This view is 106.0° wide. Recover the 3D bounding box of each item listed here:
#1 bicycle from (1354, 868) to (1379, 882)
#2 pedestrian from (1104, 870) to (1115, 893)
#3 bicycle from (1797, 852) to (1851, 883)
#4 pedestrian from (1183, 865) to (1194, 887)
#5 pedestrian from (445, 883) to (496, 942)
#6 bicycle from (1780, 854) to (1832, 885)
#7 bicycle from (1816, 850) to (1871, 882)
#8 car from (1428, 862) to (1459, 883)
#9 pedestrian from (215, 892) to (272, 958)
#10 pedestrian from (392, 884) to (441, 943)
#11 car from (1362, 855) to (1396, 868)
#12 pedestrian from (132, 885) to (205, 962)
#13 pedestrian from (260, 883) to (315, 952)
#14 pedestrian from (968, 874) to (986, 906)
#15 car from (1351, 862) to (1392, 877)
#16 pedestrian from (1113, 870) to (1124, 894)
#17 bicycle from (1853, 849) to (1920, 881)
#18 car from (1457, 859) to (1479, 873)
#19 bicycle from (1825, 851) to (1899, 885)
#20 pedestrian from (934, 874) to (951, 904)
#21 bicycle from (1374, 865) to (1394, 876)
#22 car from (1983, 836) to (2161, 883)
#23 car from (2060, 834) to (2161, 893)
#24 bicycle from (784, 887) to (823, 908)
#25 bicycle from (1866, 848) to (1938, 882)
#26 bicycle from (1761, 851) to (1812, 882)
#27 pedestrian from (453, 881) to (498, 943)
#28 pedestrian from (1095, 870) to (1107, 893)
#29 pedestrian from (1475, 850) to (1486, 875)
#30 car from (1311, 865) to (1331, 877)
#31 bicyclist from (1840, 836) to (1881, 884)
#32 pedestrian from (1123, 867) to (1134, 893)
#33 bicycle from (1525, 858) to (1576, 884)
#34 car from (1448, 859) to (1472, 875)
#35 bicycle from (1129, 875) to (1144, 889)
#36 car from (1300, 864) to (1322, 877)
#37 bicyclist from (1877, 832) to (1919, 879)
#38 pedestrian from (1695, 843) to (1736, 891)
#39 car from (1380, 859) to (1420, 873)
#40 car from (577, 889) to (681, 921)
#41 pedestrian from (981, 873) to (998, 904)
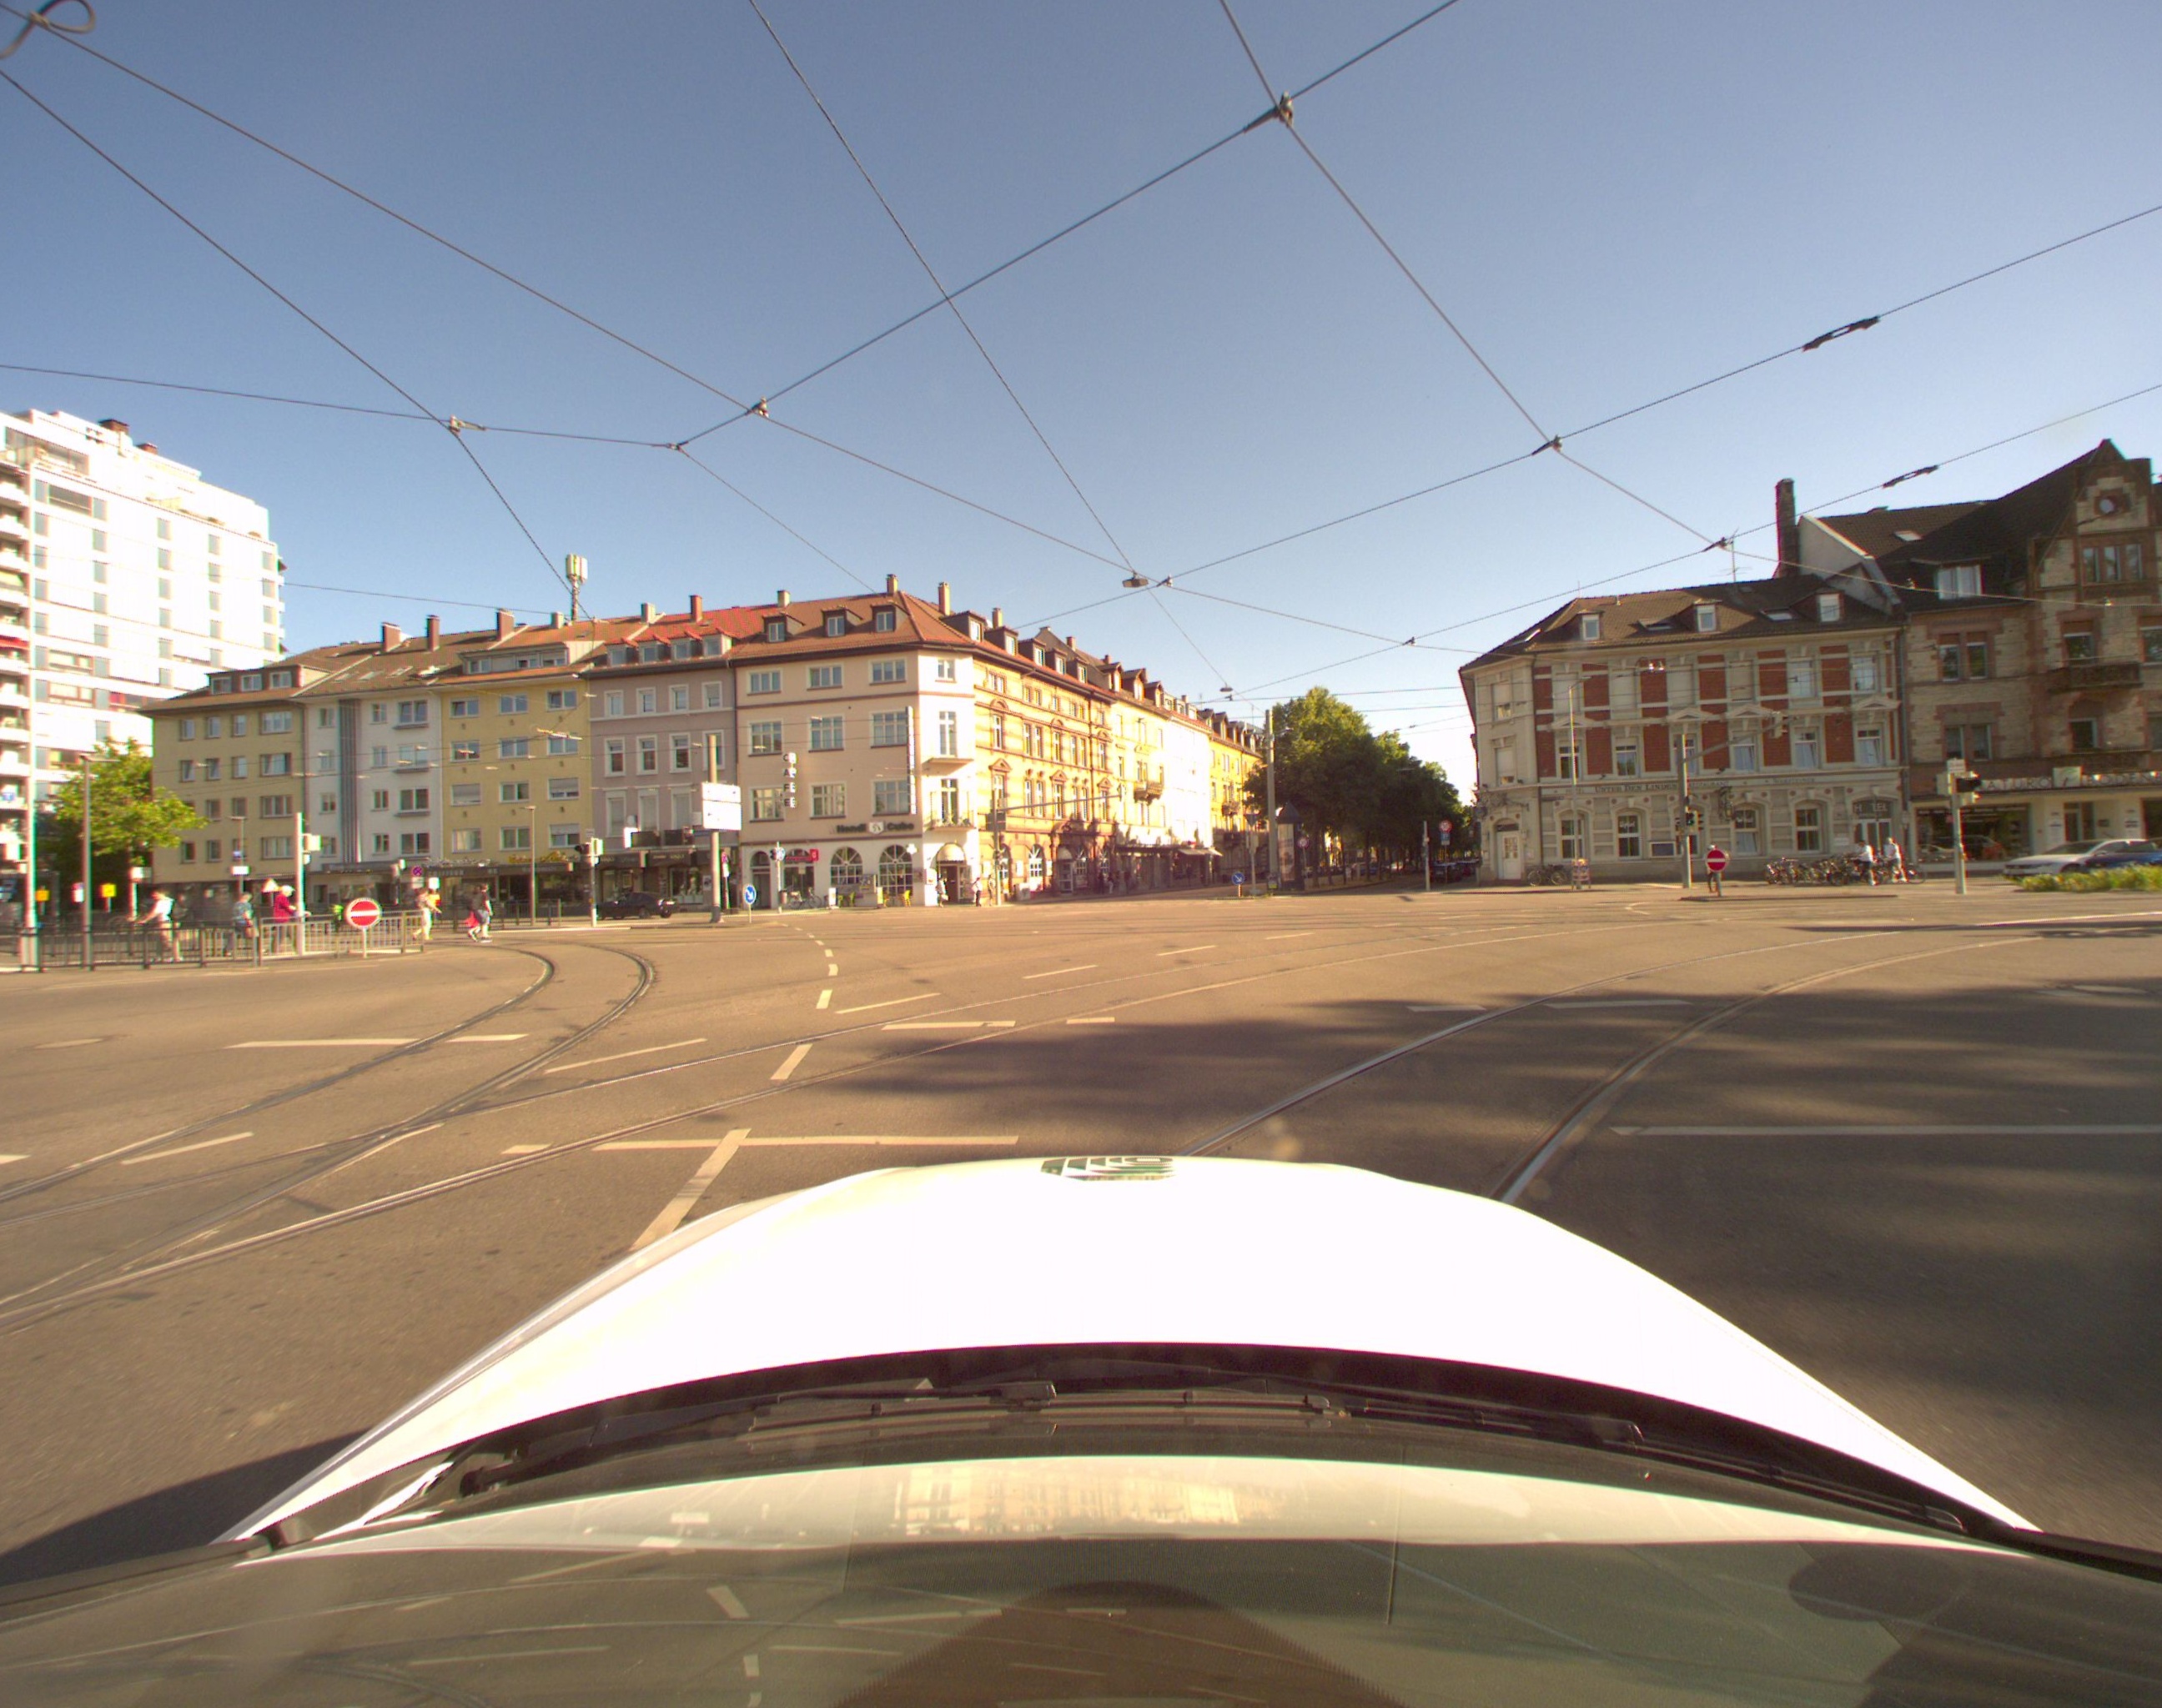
[{"bbox_3d":[22.611,1.669,64.527,0.584,1.067,1.933,-2,-1,-25],"label":"bicycle"},{"bbox_3d":[2.050,1.962,58.388,0.546,1.642,0.540,-2,-1,22],"label":"pedestrian"},{"bbox_3d":[29.989,0.524,32.892,0.672,1.191,1.974,-2,-1,13],"label":"bicycle"},{"bbox_3d":[9.610,1.939,72.658,0.675,1.908,0.637,-3,-1,27],"label":"pedestrian"},{"bbox_3d":[-18.850,1.798,25.155,0.833,1.733,0.908,-2,-1,10],"label":"pedestrian"},{"bbox_3d":[29.355,0.604,33.013,0.672,1.191,1.974,-2,-1,13],"label":"bicycle"},{"bbox_3d":[30.645,0.476,32.757,0.672,1.191,1.974,-2,-1,13],"label":"bicycle"},{"bbox_3d":[28.115,1.391,63.111,1.975,1.497,4.057,-3,-1,26],"label":"car"},{"bbox_3d":[-21.599,1.821,21.016,0.854,1.631,0.813,-3,-2,28],"label":"pedestrian"},{"bbox_3d":[-20.389,1.823,24.982,0.781,1.733,0.826,-2,-1,10],"label":"pedestrian"},{"bbox_3d":[41.543,1.041,113.605,3.948,1.545,2.013,-3,-1,39],"label":"car"},{"bbox_3d":[-21.524,1.623,19.232,0.822,1.733,0.785,-2,-1,-14],"label":"pedestrian"},{"bbox_3d":[-20.638,1.642,21.191,0.814,1.724,0.854,-3,-2,33],"label":"pedestrian"},{"bbox_3d":[-5.400,1.882,42.446,0.669,1.642,0.581,-3,-1,25],"label":"pedestrian"},{"bbox_3d":[34.185,1.798,95.847,3.948,1.545,2.013,-3,-1,39],"label":"car"},{"bbox_3d":[2.721,2.005,58.567,0.546,1.642,0.636,-2,-1,22],"label":"pedestrian"},{"bbox_3d":[31.777,0.424,32.131,1.955,1.191,0.679,-2,-1,-1],"label":"bicycle"},{"bbox_3d":[44.815,1.381,94.348,1.974,1.497,4.058,-3,-1,29],"label":"car"},{"bbox_3d":[29.416,0.517,30.697,1.947,1.191,0.604,-2,-1,14],"label":"bicycle"},{"bbox_3d":[-7.342,1.864,43.235,0.655,1.524,0.696,-2,-1,4],"label":"pedestrian"},{"bbox_3d":[29.765,1.625,79.991,0.584,1.067,1.933,-2,-1,-25],"label":"bicycle"},{"bbox_3d":[33.690,0.187,27.518,3.962,1.412,1.851,-2,-1,10],"label":"car"},{"bbox_3d":[32.941,0.232,24.582,3.962,1.668,1.961,-2,-1,10],"label":"car"},{"bbox_3d":[-15.365,2.419,45.135,1.934,1.067,0.584,-2,-1,4],"label":"bicycle"},{"bbox_3d":[31.462,0.422,31.225,1.950,1.191,0.603,-2,-1,7],"label":"bicycle"},{"bbox_3d":[28.660,0.493,33.123,0.672,1.191,1.974,-2,-1,13],"label":"bicycle"},{"bbox_3d":[-17.394,1.649,23.403,0.649,1.733,0.802,-2,-1,3],"label":"pedestrian"},{"bbox_3d":[1.442,1.972,58.576,0.621,1.642,0.540,-3,-1,24],"label":"pedestrian"},{"bbox_3d":[27.361,0.590,55.764,0.585,1.643,0.581,-3,-9,30],"label":"pedestrian"},{"bbox_3d":[33.250,2.354,112.637,1.975,1.497,4.057,-3,-1,26],"label":"car"},{"bbox_3d":[29.379,0.216,30.704,0.866,1.764,0.604,-2,-1,14],"label":"bicyclist"},{"bbox_3d":[3.447,1.865,58.953,0.574,1.836,0.637,-3,-1,27],"label":"pedestrian"},{"bbox_3d":[22.169,0.806,38.485,1.946,1.191,0.549,-2,-1,16],"label":"bicycle"},{"bbox_3d":[40.203,1.358,86.346,1.974,1.497,4.058,-3,-1,29],"label":"car"},{"bbox_3d":[4.420,2.201,64.782,0.490,1.067,1.780,-3,-1,28],"label":"bicycle"},{"bbox_3d":[29.347,2.092,103.924,1.975,1.497,4.057,-3,-1,26],"label":"car"},{"bbox_3d":[31.323,0.073,31.249,0.898,1.764,0.603,-2,-1,8],"label":"bicyclist"},{"bbox_3d":[22.745,0.469,29.200,0.712,1.669,0.941,-2,-1,5],"label":"pedestrian"},{"bbox_3d":[37.655,1.395,96.191,3.949,1.545,2.012,-3,-1,42],"label":"car"},{"bbox_3d":[-23.703,2.660,42.744,4.613,1.440,1.748,-2,-2,8],"label":"car"},{"bbox_3d":[-4.914,1.841,43.814,0.625,1.642,0.555,-3,-1,25],"label":"pedestrian"}]
